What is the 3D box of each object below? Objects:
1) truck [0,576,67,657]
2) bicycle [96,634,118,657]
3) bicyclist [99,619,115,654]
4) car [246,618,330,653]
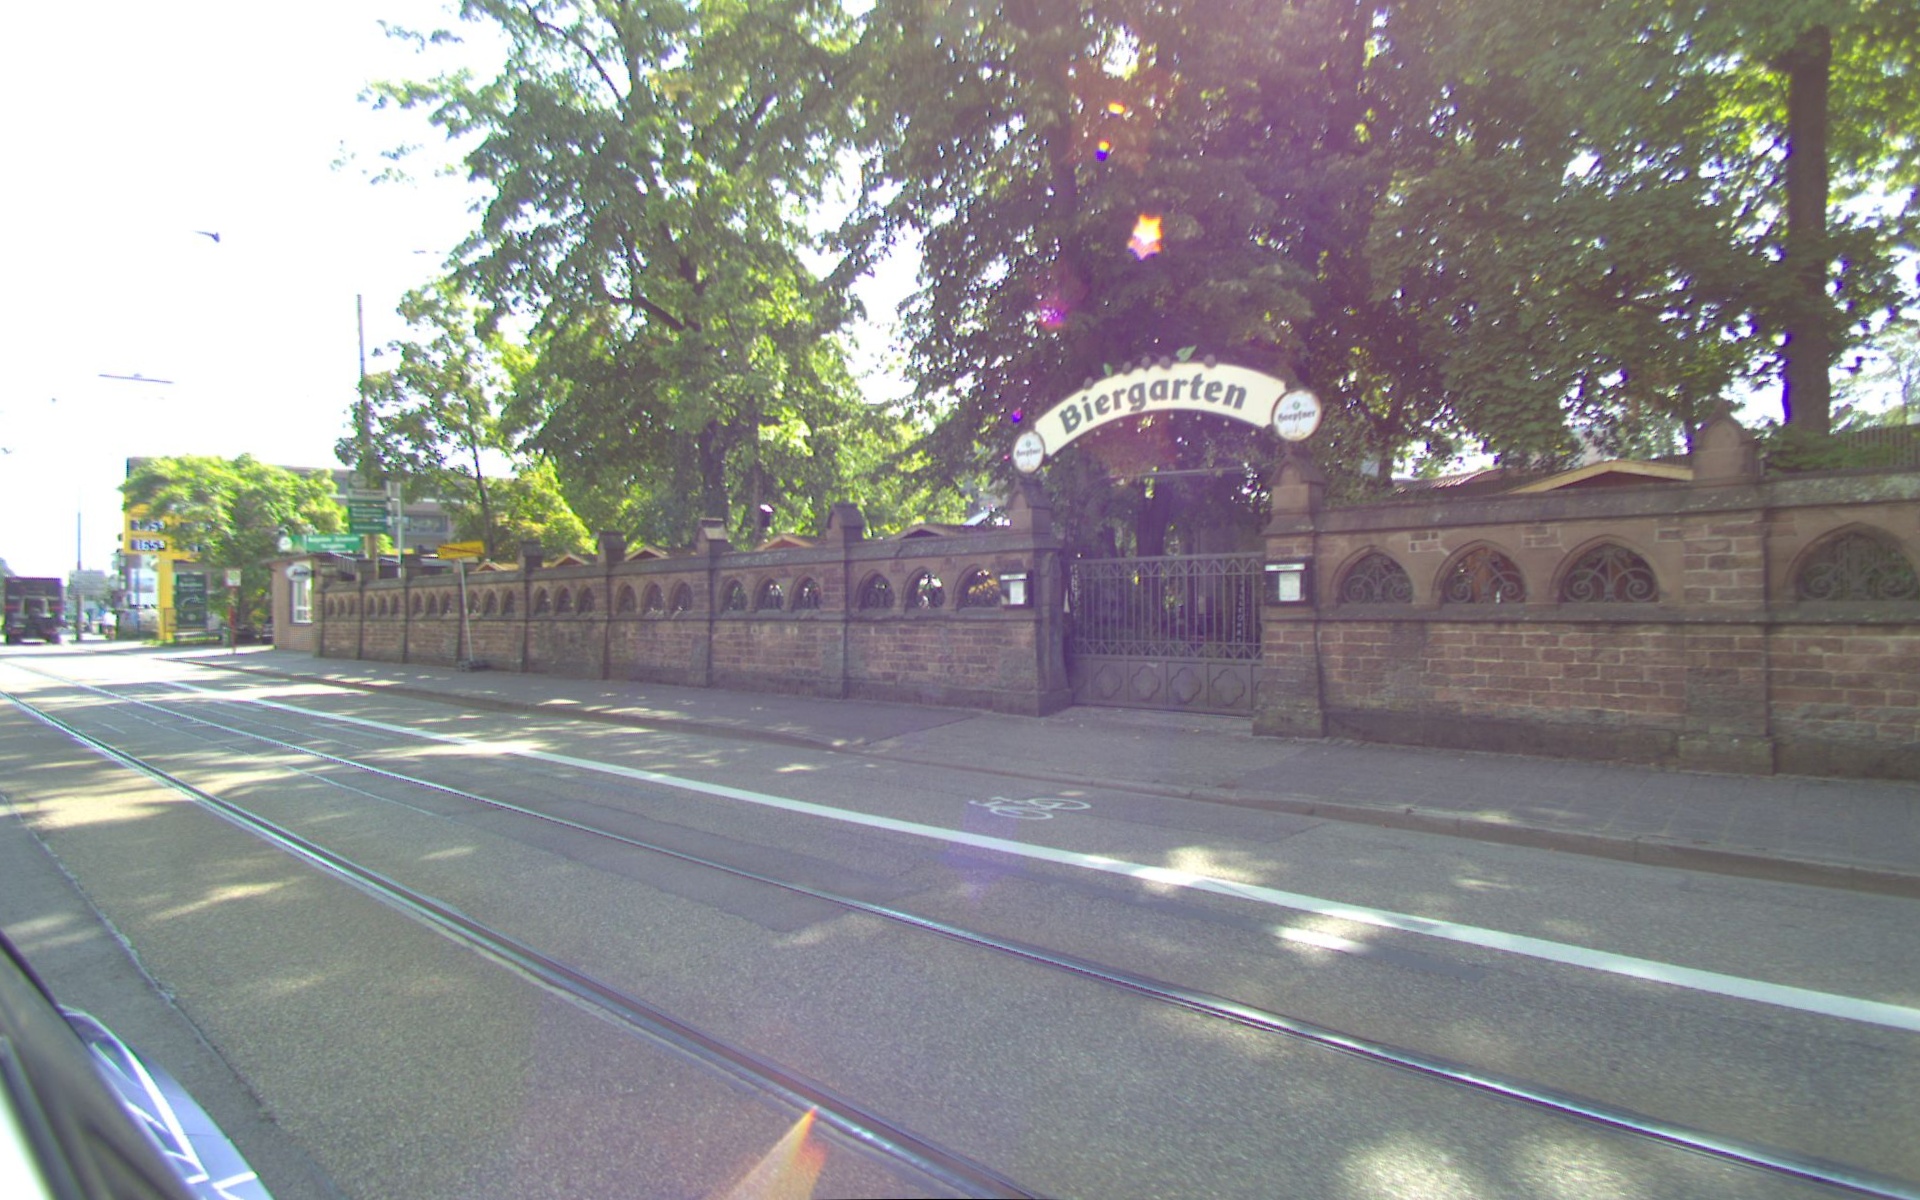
[{"bbox_3d":[-57.506,1.010,62.707,3.126,4.487,16.861,0,-1,-42],"label":"truck"},{"bbox_3d":[-48.415,2.600,57.467,0.775,1.250,2.038,-1,-2,-36],"label":"bicycle"},{"bbox_3d":[-48.442,2.047,57.487,0.632,1.944,1.178,0,-1,-37],"label":"bicyclist"},{"bbox_3d":[-31.426,1.641,47.479,1.905,1.472,4.540,-1,0,-14],"label":"car"}]
